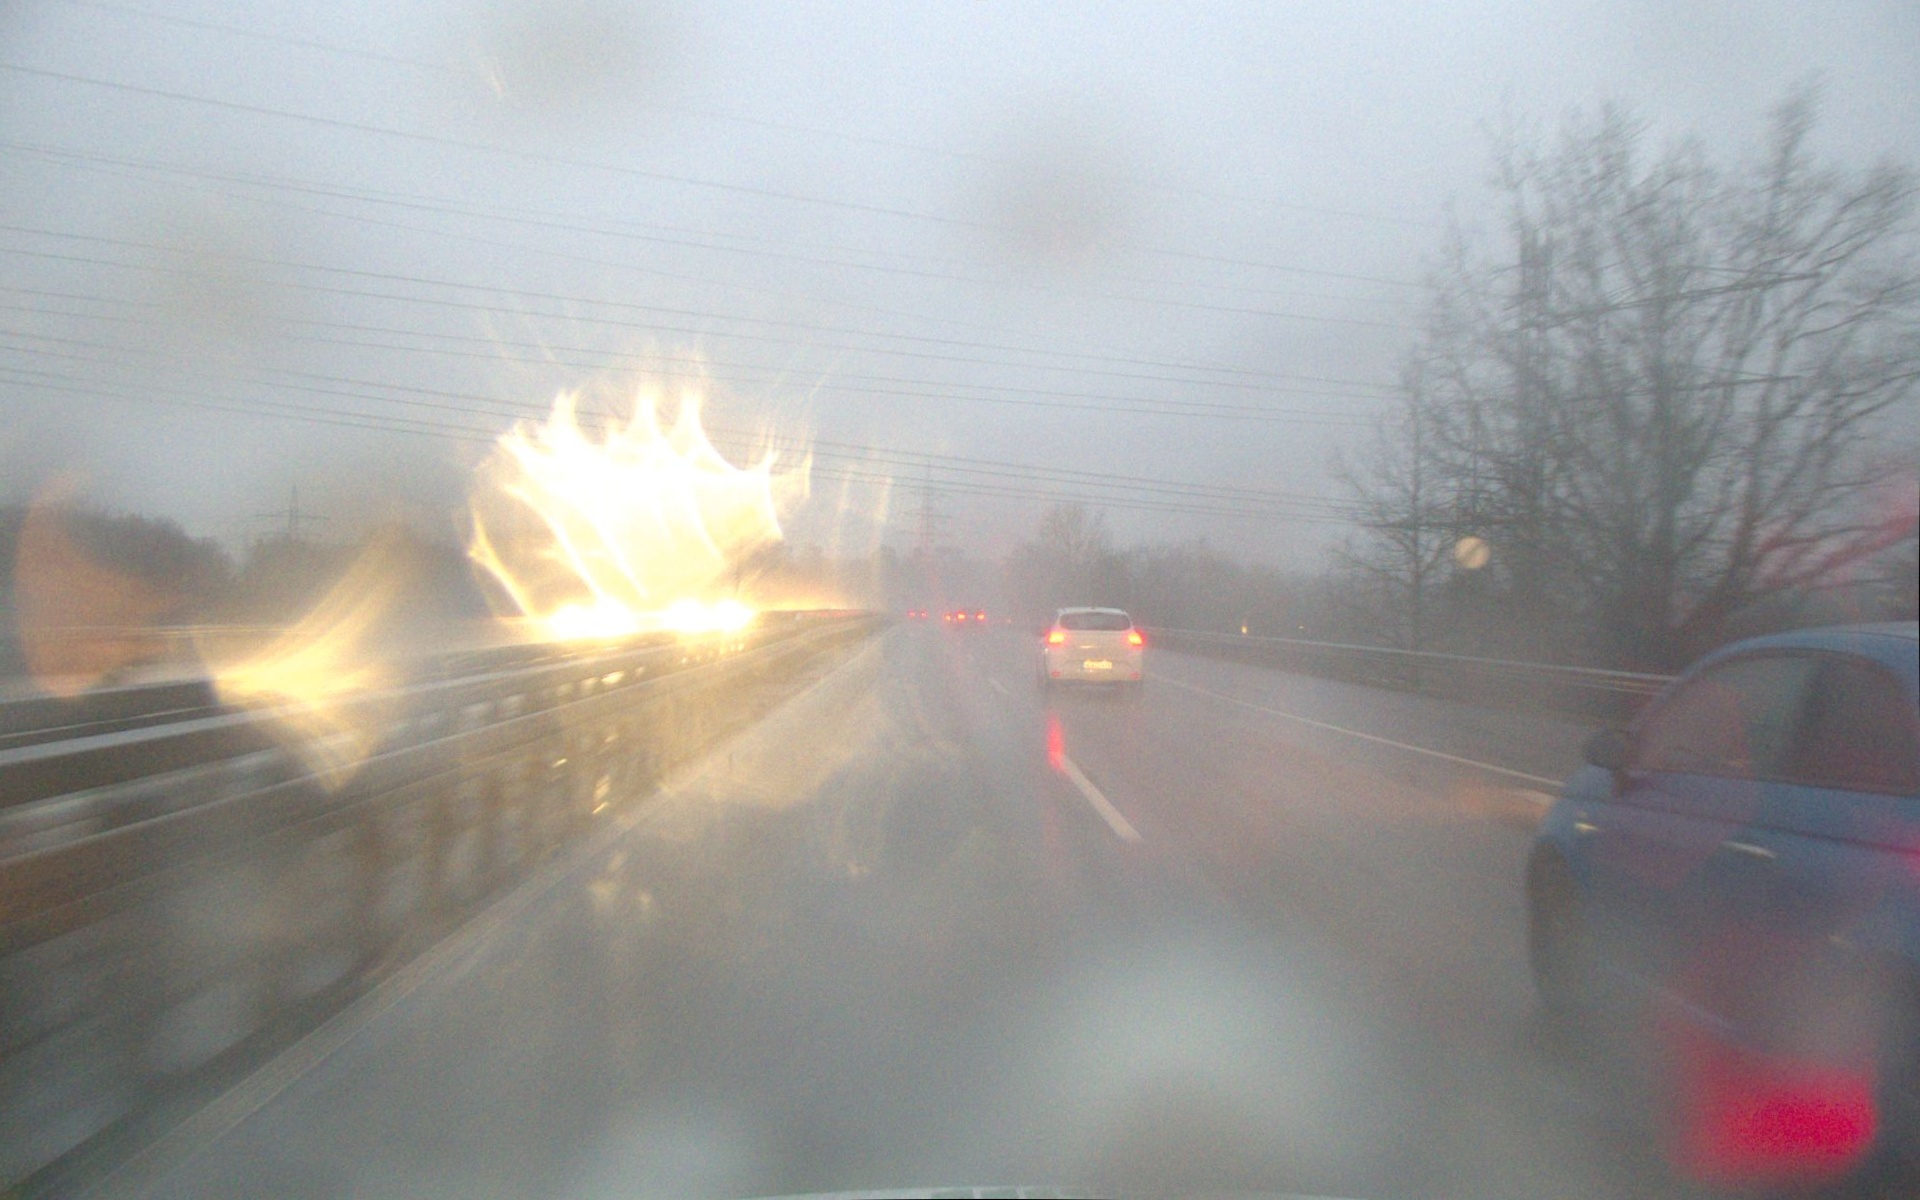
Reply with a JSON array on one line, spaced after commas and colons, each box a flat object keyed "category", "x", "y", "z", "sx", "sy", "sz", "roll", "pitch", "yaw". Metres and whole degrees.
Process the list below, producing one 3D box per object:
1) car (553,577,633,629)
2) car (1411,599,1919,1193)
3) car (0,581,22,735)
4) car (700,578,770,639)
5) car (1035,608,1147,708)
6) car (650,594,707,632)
[{"category": "car", "x": -13.298, "y": 0.118, "z": 60.174, "sx": 2.028, "sy": 1.823, "sz": 4.338, "roll": 0, "pitch": 0, "yaw": -2}, {"category": "car", "x": 3.167, "y": 0.742, "z": 6.207, "sx": 1.808, "sy": 1.479, "sz": 4.148, "roll": 0, "pitch": 0, "yaw": 0}, {"category": "car", "x": -12.358, "y": 0.679, "z": 17.638, "sx": 2.028, "sy": 1.823, "sz": 4.846, "roll": 0, "pitch": 0, "yaw": -2}, {"category": "car", "x": -8.253, "y": 0.297, "z": 61.025, "sx": 2.028, "sy": 2.151, "sz": 4.760, "roll": 0, "pitch": 0, "yaw": -2}, {"category": "car", "x": 2.321, "y": 1.002, "z": 30.048, "sx": 1.807, "sy": 1.664, "sz": 3.768, "roll": 0, "pitch": 0, "yaw": 1}, {"category": "car", "x": -14.006, "y": 0.634, "z": 82.513, "sx": 2.120, "sy": 1.823, "sz": 4.807, "roll": 0, "pitch": 0, "yaw": -2}]
